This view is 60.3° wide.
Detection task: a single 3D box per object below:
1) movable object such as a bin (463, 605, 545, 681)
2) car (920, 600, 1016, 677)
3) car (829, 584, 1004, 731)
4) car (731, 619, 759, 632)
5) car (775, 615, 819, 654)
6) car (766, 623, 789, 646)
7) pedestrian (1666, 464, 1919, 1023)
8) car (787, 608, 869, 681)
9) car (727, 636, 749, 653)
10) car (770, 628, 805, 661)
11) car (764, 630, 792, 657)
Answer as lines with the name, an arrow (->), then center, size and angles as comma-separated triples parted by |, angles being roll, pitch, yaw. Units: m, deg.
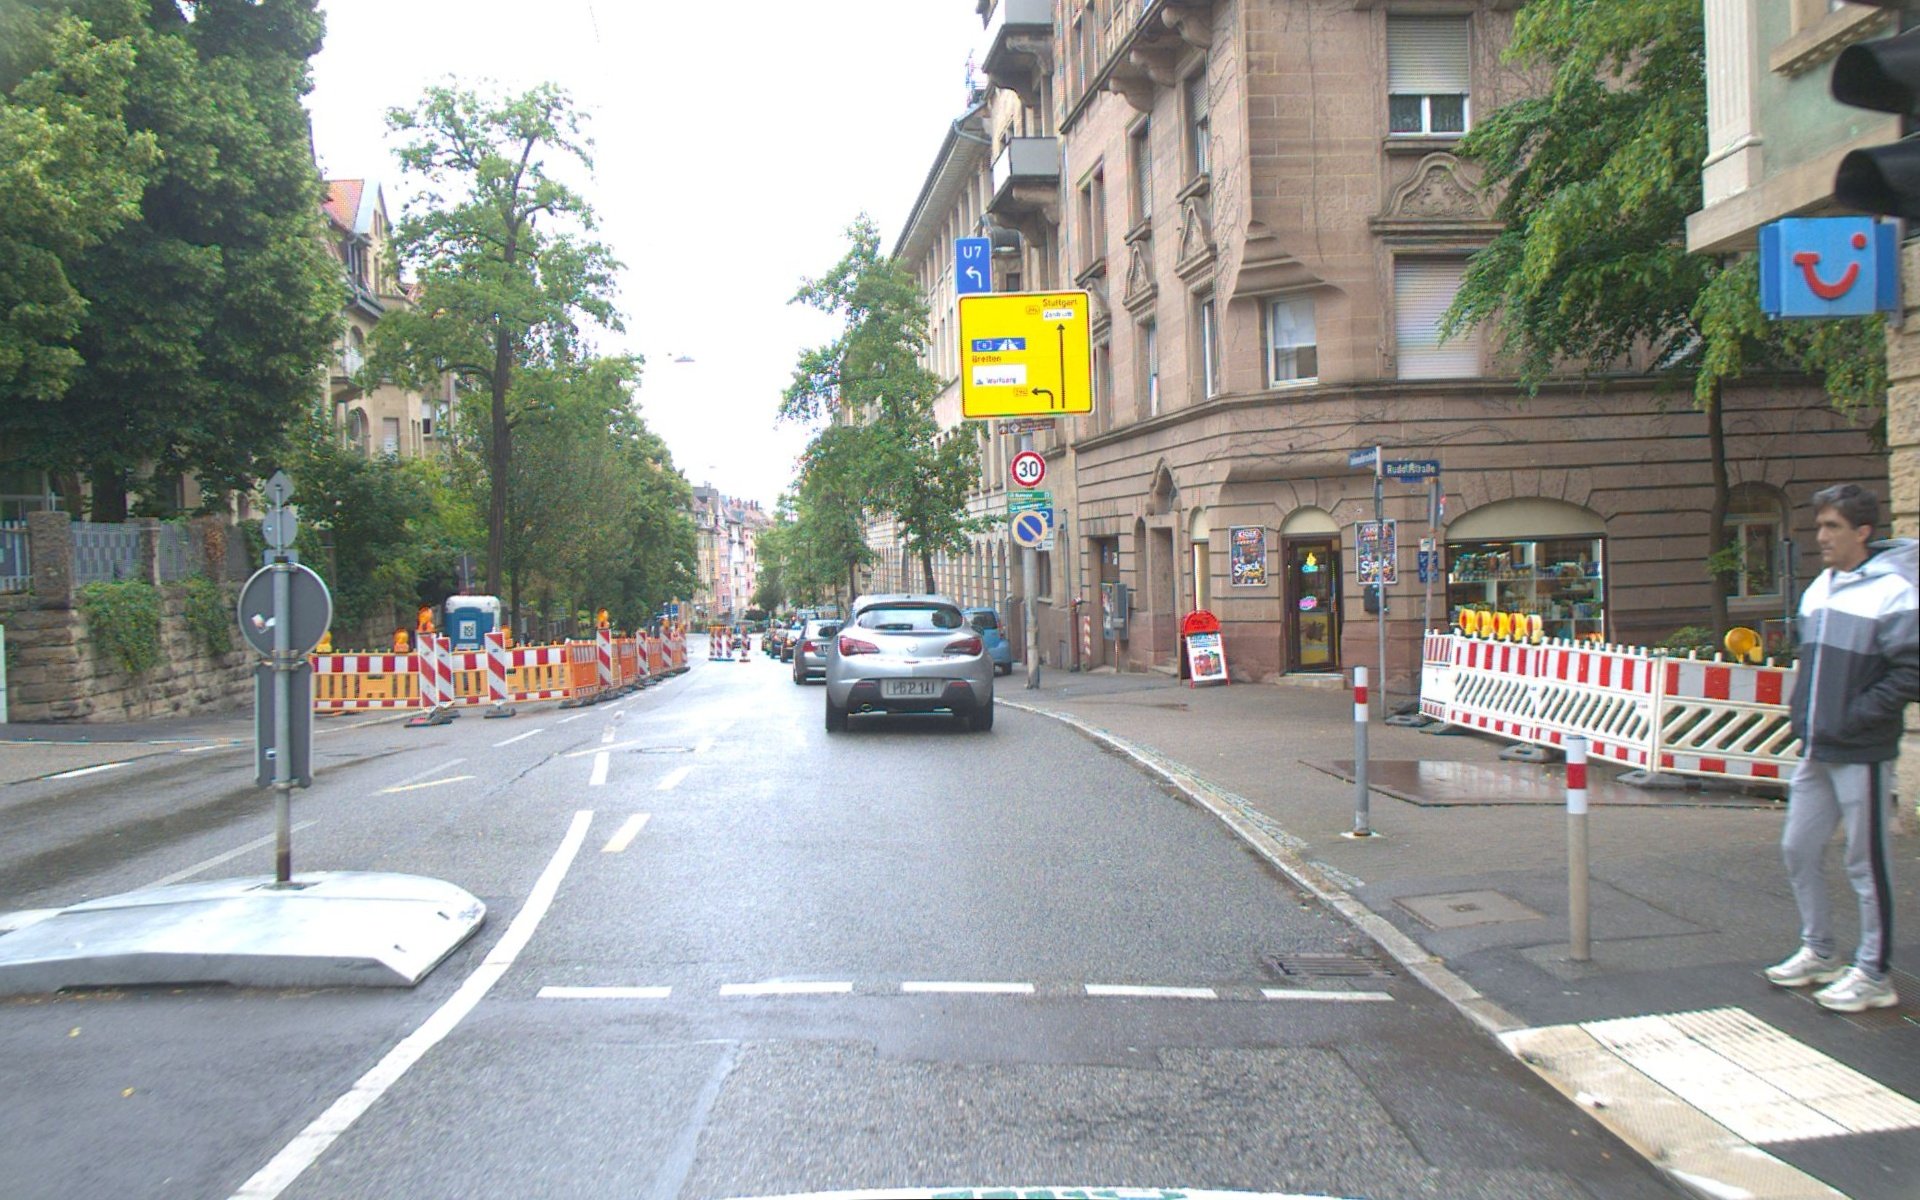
movable object such as a bin -> -14.855, 1.384, 54.004 | 1.954, 2.339, 2.813 | -2, -1, -4
car -> 0.141, 0.884, 37.954 | 1.626, 1.570, 3.658 | -4, -1, -8
car -> -0.573, 0.611, 18.770 | 1.775, 1.475, 3.865 | -1, -1, -4
car -> -30.944, 3.723, 238.293 | 3.912, 1.781, 1.996 | 1, -2, -8
car -> -7.126, 1.515, 72.123 | 1.626, 1.570, 3.657 | -4, -1, -9
car -> -15.698, 2.947, 142.025 | 1.683, 1.813, 3.658 | -5, -1, -8
pedestrian -> 3.047, 0.458, 5.820 | 0.652, 1.805, 0.718 | -4, 1, -12
car -> -2.987, 0.981, 37.155 | 1.737, 1.531, 3.864 | -1, -1, -5
car -> -21.079, 4.182, 156.964 | 1.957, 1.527, 3.990 | -2, -1, -10
car -> -9.062, 2.340, 86.618 | 1.626, 1.570, 3.658 | -4, -1, -8
car -> -11.674, 2.786, 105.777 | 1.626, 1.570, 3.658 | -4, -1, -8
